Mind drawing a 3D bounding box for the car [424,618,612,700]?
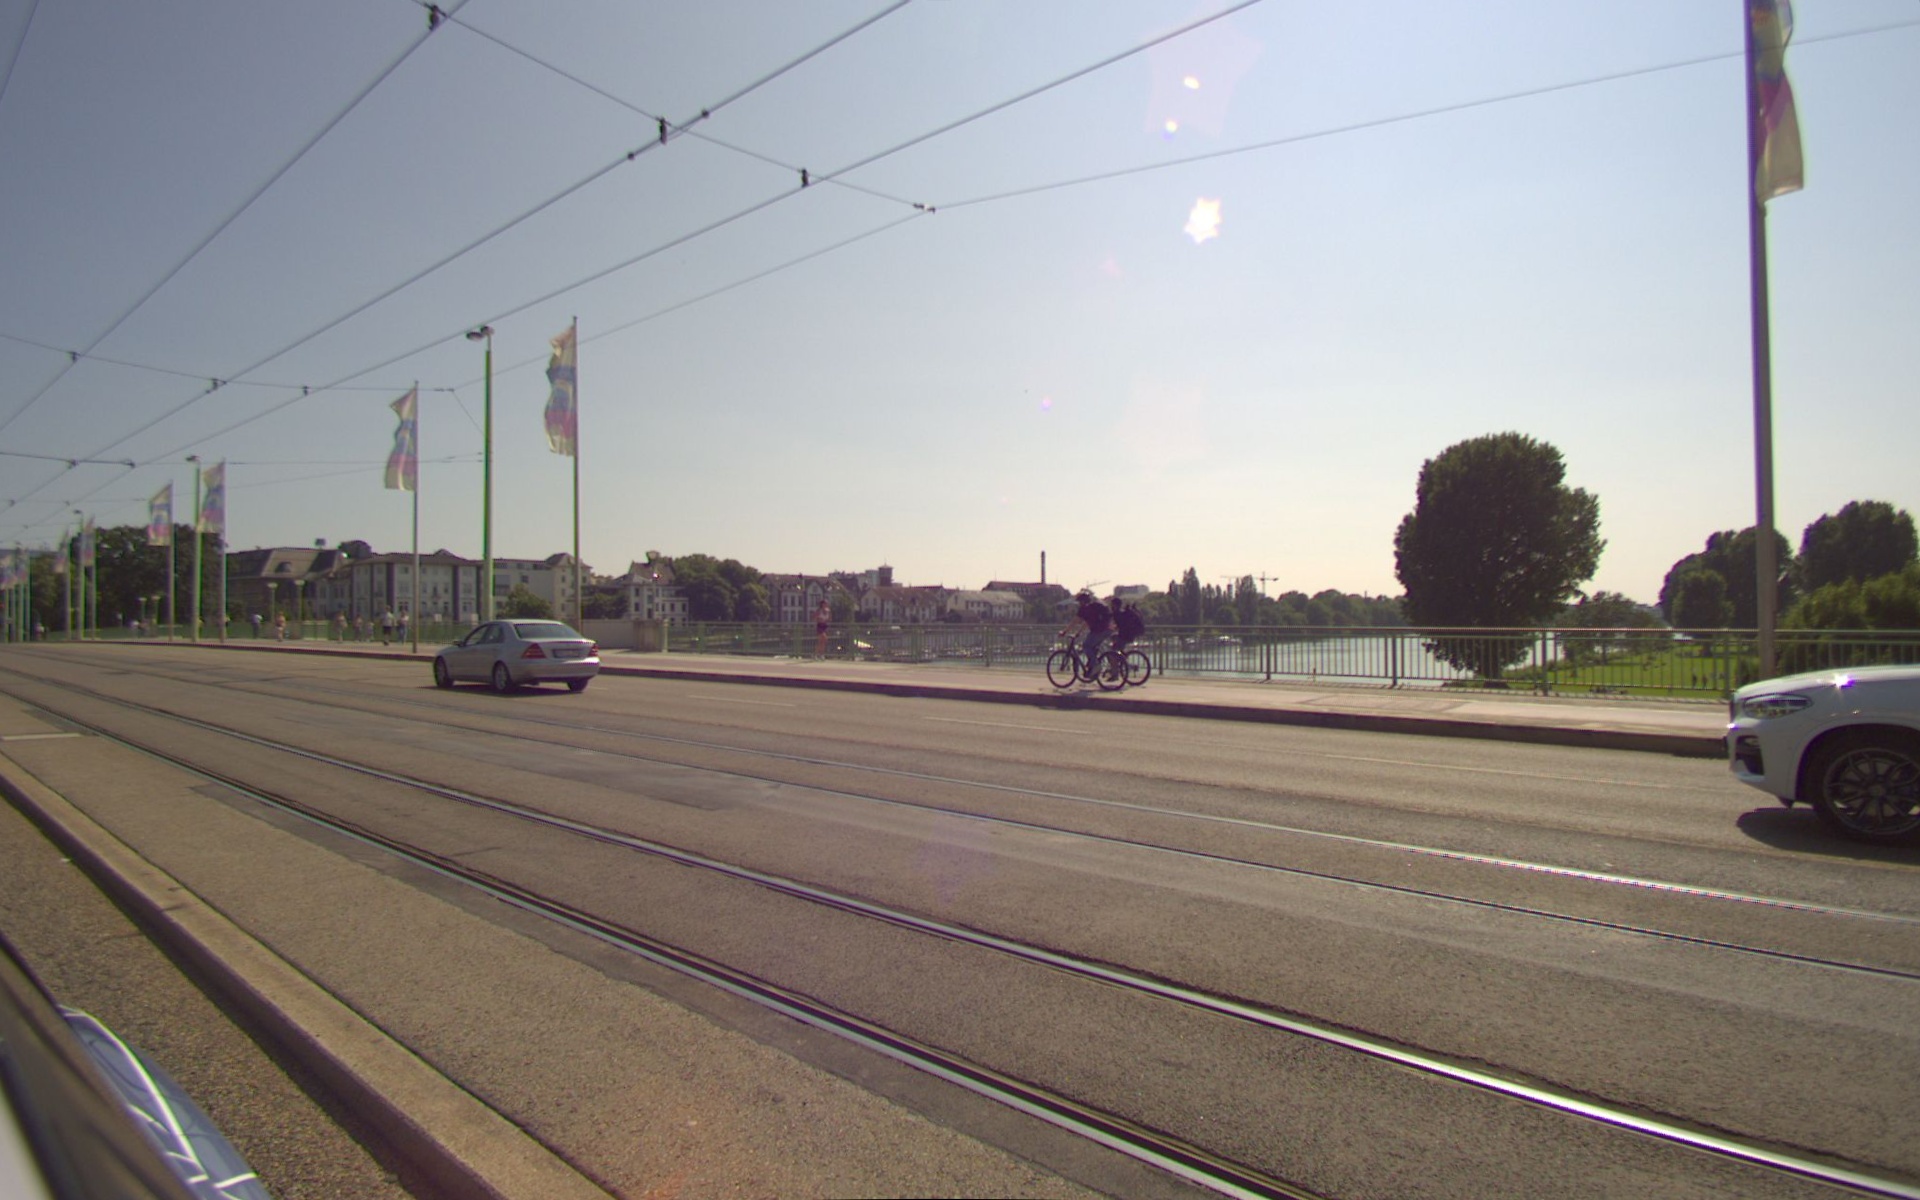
[{"bbox_3d":[-8.922,1.095,20.277,4.370,1.471,1.713,-1,-1,40],"label":"car"}]

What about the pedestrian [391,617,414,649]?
[{"bbox_3d":[-25.673,1.501,46.607,1.022,1.425,0.584,-1,1,41],"label":"pedestrian"}]

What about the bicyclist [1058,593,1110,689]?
[{"bbox_3d":[2.212,0.721,18.081,0.621,1.663,0.621,-2,0,42],"label":"bicyclist"}]

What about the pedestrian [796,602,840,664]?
[{"bbox_3d":[-3.983,0.915,28.405,1.022,1.703,0.677,-1,1,41],"label":"pedestrian"}]

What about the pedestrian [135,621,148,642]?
[{"bbox_3d":[-69.511,2.675,85.929,0.904,1.712,0.584,-1,3,41],"label":"pedestrian"}]

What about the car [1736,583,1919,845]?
[{"bbox_3d":[7.581,0.692,5.956,4.651,1.598,1.972,-1,-1,42],"label":"car"}]

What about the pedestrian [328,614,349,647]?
[{"bbox_3d":[-31.589,1.545,51.425,1.022,1.611,0.619,-1,1,41],"label":"pedestrian"}]

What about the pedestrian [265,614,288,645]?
[{"bbox_3d":[-37.982,1.636,56.236,1.022,1.712,0.777,-1,1,41],"label":"pedestrian"}]

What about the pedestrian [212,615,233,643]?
[{"bbox_3d":[-47.314,1.853,64.946,1.022,1.712,0.778,-1,3,41],"label":"pedestrian"}]

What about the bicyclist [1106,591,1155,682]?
[{"bbox_3d":[3.187,0.669,18.916,0.621,1.663,0.621,-2,0,42],"label":"bicyclist"}]

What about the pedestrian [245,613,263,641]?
[{"bbox_3d":[-44.540,1.713,63.865,1.022,1.712,0.584,-1,3,41],"label":"pedestrian"}]

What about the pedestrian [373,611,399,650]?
[{"bbox_3d":[-26.042,1.380,45.895,1.022,1.712,0.663,-1,1,41],"label":"pedestrian"}]

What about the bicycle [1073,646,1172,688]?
[{"bbox_3d":[3.046,1.251,19.067,1.770,0.721,0.614,-2,0,42],"label":"bicycle"}]

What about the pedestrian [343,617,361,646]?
[{"bbox_3d":[-31.213,1.607,51.956,0.788,1.448,0.540,-1,1,41],"label":"pedestrian"}]

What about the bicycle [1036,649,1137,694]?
[{"bbox_3d":[2.248,1.264,18.075,1.730,0.721,0.614,-2,0,42],"label":"bicycle"}]
